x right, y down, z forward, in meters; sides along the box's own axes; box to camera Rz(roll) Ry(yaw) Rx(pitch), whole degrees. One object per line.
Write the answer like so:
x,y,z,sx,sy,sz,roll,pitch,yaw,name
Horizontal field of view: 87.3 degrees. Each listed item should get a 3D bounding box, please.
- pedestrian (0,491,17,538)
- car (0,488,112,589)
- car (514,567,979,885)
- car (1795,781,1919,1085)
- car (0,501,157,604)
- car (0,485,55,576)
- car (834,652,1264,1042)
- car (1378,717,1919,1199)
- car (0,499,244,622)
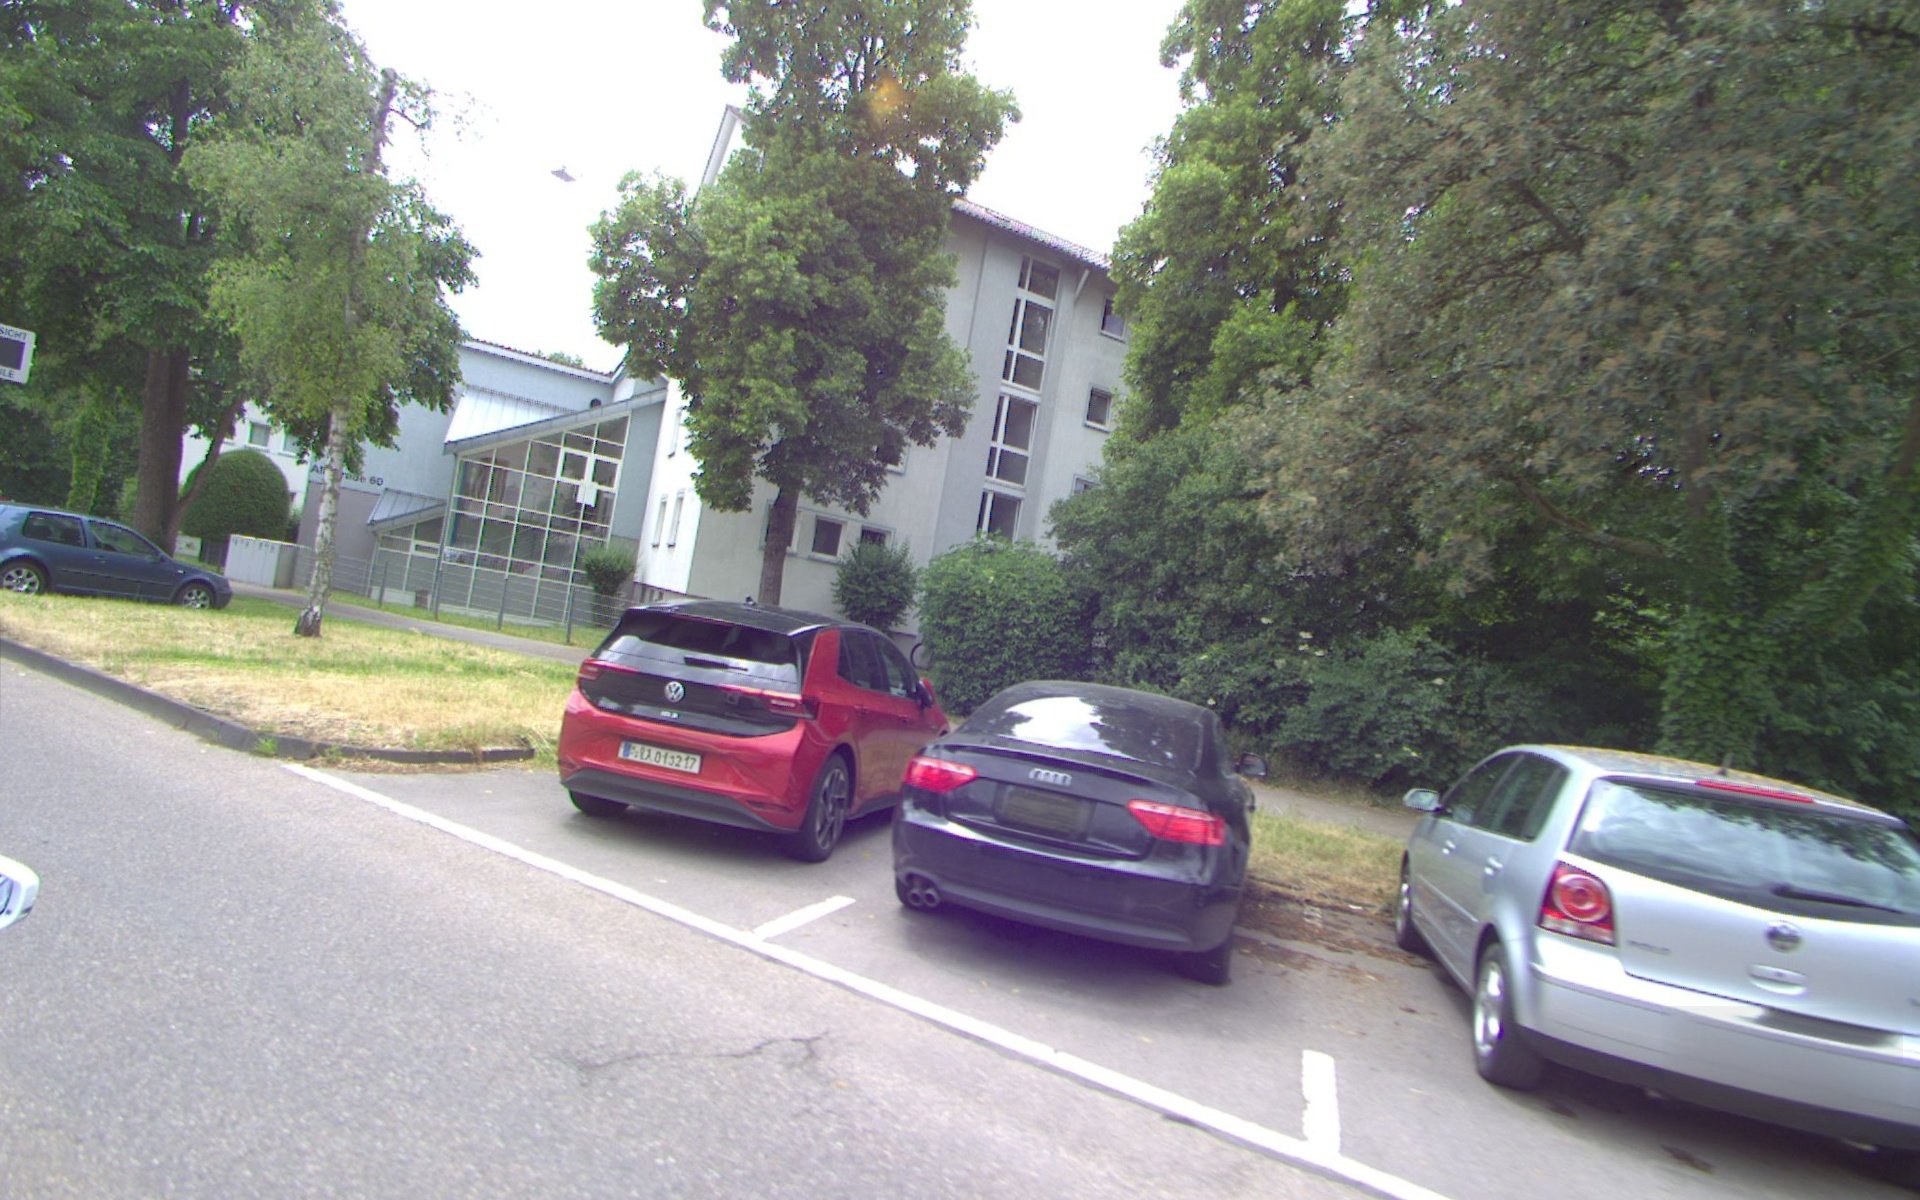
-34.676,-3.124,36.316,0.732,1.622,0.650,7,-1,37,pedestrian
-18.403,-1.349,18.318,1.849,1.637,4.018,8,-3,16,car
-1.219,0.844,7.689,1.701,1.532,4.091,8,-3,14,car
5.508,1.760,3.892,1.603,1.461,4.367,9,-3,14,car
-16.042,-0.941,16.570,1.723,1.420,4.049,8,-3,14,car
-20.808,-1.687,19.844,1.753,1.773,4.107,9,-3,5,car
0.957,1.239,6.449,1.701,1.355,4.334,8,-3,18,car
3.335,1.489,5.158,1.603,1.461,3.629,8,-3,16,car
-13.838,-0.651,15.702,1.723,1.420,3.986,8,-4,17,car
